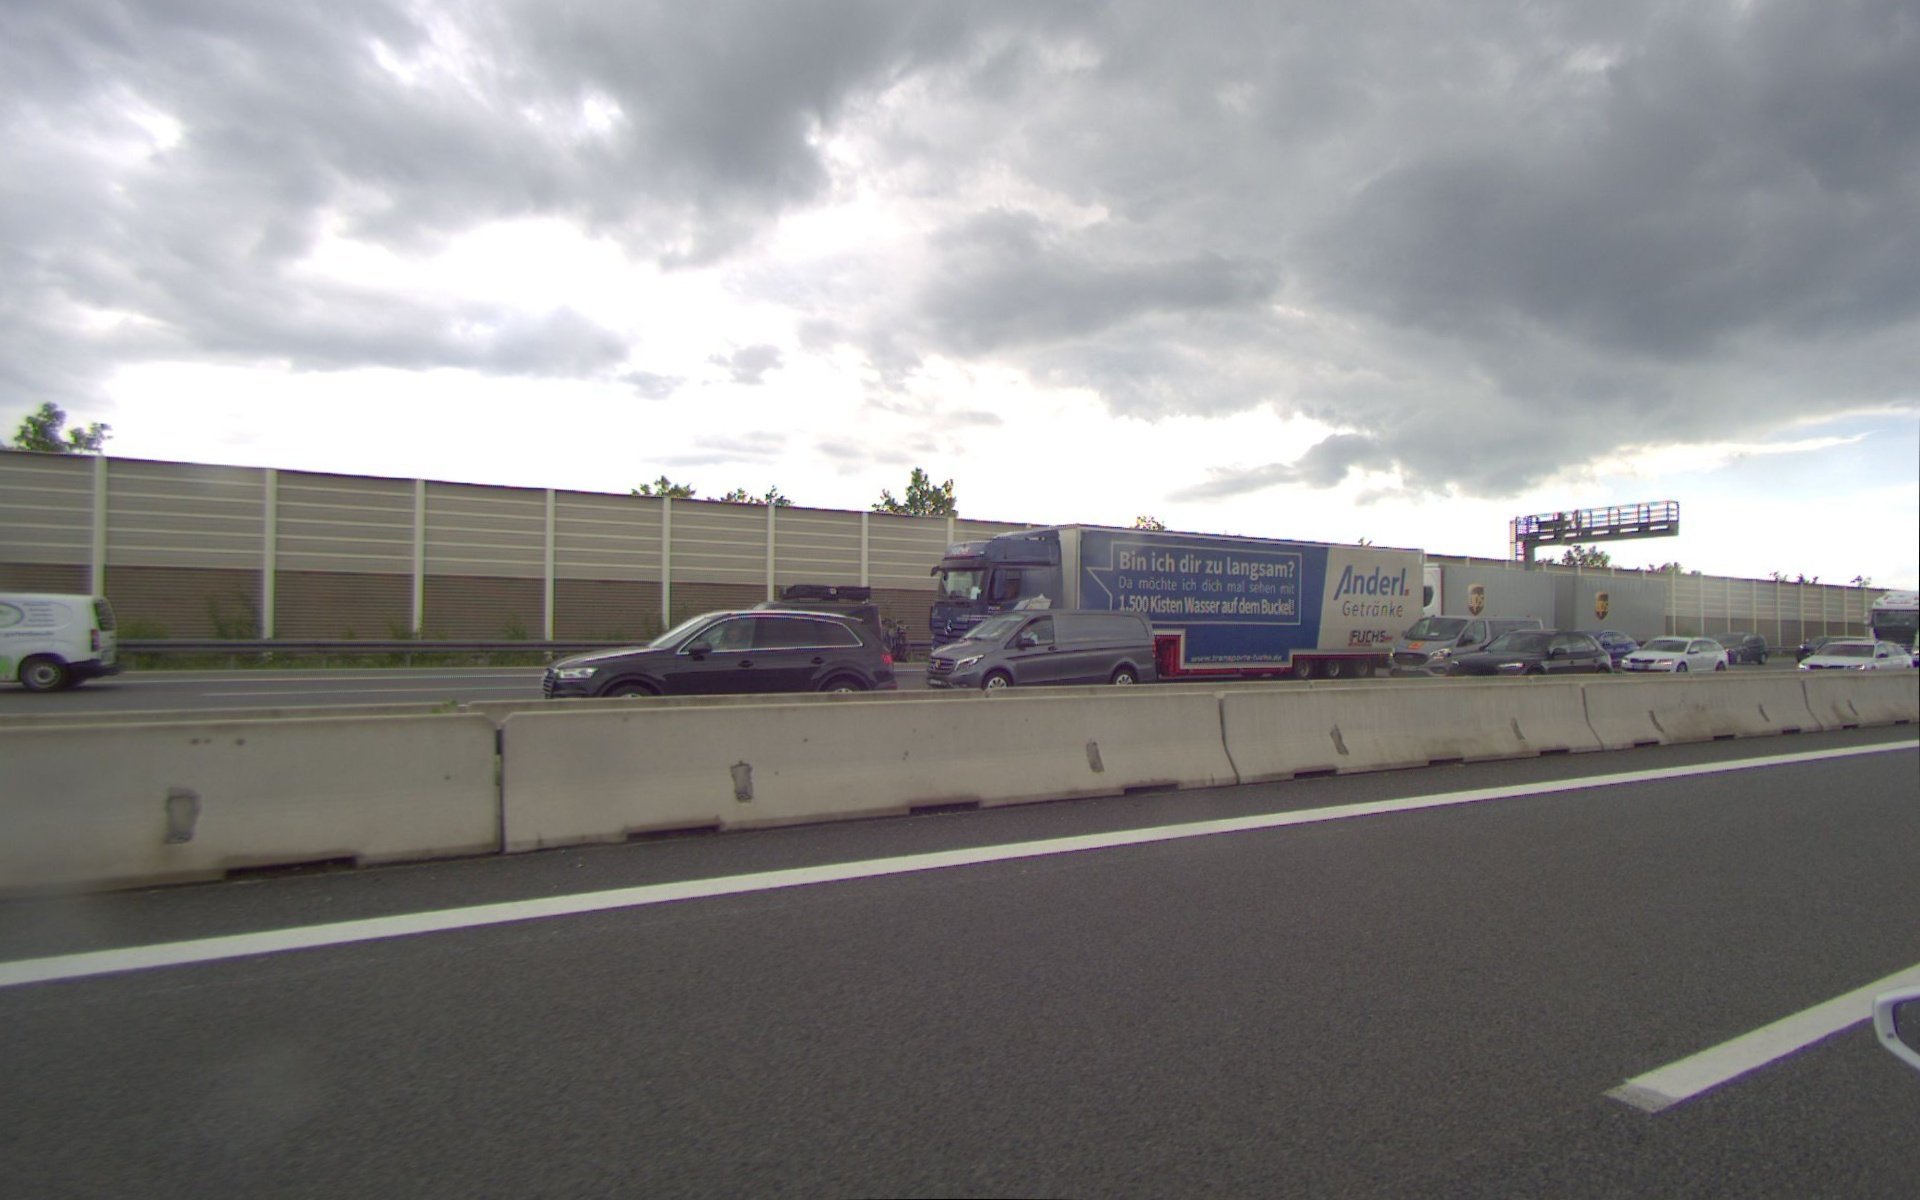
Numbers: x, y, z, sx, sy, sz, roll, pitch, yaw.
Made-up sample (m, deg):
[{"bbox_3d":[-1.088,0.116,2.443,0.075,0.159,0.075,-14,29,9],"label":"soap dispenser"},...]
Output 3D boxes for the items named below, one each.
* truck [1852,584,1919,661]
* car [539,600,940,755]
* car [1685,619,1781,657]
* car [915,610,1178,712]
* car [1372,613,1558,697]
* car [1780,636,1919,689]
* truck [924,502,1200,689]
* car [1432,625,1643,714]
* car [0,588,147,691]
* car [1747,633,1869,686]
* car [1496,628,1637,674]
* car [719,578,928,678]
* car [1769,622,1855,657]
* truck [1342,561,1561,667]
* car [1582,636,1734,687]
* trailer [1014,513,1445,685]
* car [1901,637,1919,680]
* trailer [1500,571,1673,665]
[{"bbox_3d":[54.161,1.326,56.167,10.930,3.998,2.925,2,-1,-29],"label":"truck"},{"bbox_3d":[-3.098,1.028,14.551,5.360,1.916,1.911,2,-1,-29],"label":"car"},{"bbox_3d":[41.109,2.025,53.388,5.740,1.917,2.051,2,-1,-30],"label":"car"},{"bbox_3d":[1.875,1.228,21.108,5.367,1.922,1.925,2,-1,-29],"label":"car"},{"bbox_3d":[14.280,1.505,28.330,5.367,2.187,2.052,2,-1,-29],"label":"car"},{"bbox_3d":[29.516,2.003,33.013,5.737,1.585,2.052,2,-1,-29],"label":"car"},{"bbox_3d":[2.705,-0.010,26.143,6.614,4.301,3.057,1,-1,-30],"label":"truck"},{"bbox_3d":[13.897,1.598,24.082,5.367,1.922,1.925,2,-1,-29],"label":"car"},{"bbox_3d":[-18.252,0.700,18.432,4.924,1.842,1.797,2,-1,-32],"label":"car"},{"bbox_3d":[35.524,2.449,42.028,5.737,2.029,2.052,2,-1,-29],"label":"car"},{"bbox_3d":[23.180,1.930,38.336,5.737,1.621,2.052,2,-1,-29],"label":"car"},{"bbox_3d":[-3.711,0.783,27.635,5.367,2.537,1.925,2,-1,-29],"label":"car"},{"bbox_3d":[49.330,2.303,58.149,5.740,1.917,2.051,2,-1,-30],"label":"car"},{"bbox_3d":[20.178,0.651,40.907,10.375,3.950,2.674,2,-1,-30],"label":"truck"},{"bbox_3d":[24.294,2.089,34.898,5.737,1.621,2.052,2,-1,-29],"label":"car"},{"bbox_3d":[8.366,0.162,29.425,14.144,4.216,3.044,2,-1,-30],"label":"trailer"},{"bbox_3d":[48.024,2.853,48.637,5.740,2.029,2.051,2,-1,-30],"label":"car"},{"bbox_3d":[28.678,0.878,45.796,9.173,3.923,2.709,2,-1,-30],"label":"trailer"}]
